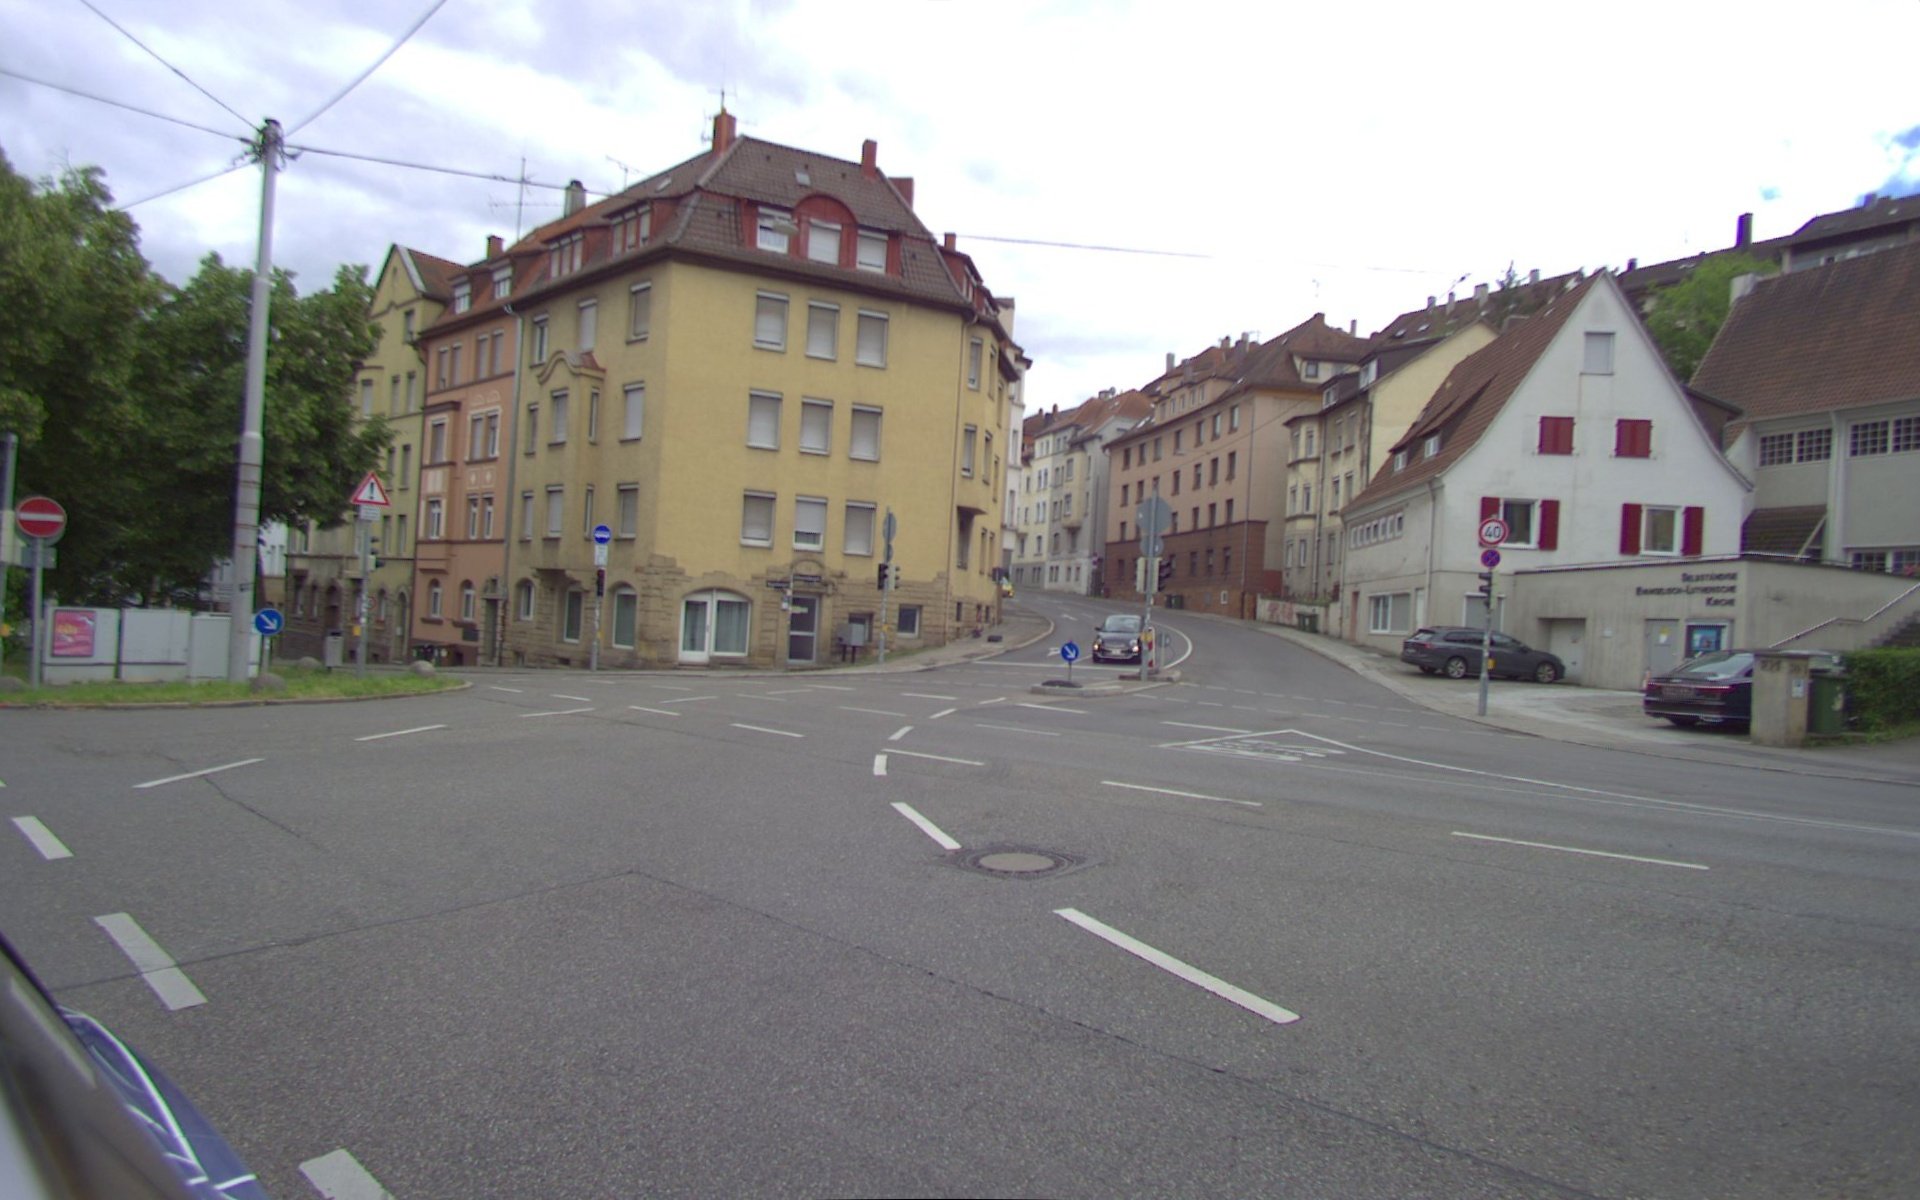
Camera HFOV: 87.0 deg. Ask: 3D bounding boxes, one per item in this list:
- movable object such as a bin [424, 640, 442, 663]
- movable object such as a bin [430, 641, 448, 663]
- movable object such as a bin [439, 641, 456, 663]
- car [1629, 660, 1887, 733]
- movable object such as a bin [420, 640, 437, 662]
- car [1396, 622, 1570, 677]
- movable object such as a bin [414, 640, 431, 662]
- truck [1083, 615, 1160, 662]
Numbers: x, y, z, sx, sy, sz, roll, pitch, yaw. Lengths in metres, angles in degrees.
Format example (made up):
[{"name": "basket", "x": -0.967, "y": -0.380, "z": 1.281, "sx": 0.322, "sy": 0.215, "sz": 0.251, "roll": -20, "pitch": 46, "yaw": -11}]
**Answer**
[{"name": "movable object such as a bin", "x": -21.229, "y": 2.076, "z": 40.773, "sx": 0.480, "sy": 0.871, "sz": 0.449, "roll": 5, "pitch": -5, "yaw": -44}, {"name": "movable object such as a bin", "x": -20.746, "y": 2.061, "z": 40.317, "sx": 0.480, "sy": 0.871, "sz": 0.449, "roll": 5, "pitch": -5, "yaw": -44}, {"name": "movable object such as a bin", "x": -20.210, "y": 2.051, "z": 39.913, "sx": 0.480, "sy": 0.871, "sz": 0.449, "roll": 5, "pitch": -5, "yaw": -44}, {"name": "car", "x": 15.205, "y": 1.795, "z": 19.342, "sx": 3.932, "sy": 1.198, "sz": 1.841, "roll": 1, "pitch": -1, "yaw": -14}, {"name": "movable object such as a bin", "x": -21.652, "y": 2.093, "z": 41.245, "sx": 0.480, "sy": 0.871, "sz": 0.449, "roll": 5, "pitch": -5, "yaw": -44}, {"name": "car", "x": 15.471, "y": 1.454, "z": 30.063, "sx": 4.239, "sy": 1.476, "sz": 1.683, "roll": 0, "pitch": 2, "yaw": 0}, {"name": "movable object such as a bin", "x": -22.140, "y": 2.107, "z": 41.700, "sx": 0.480, "sy": 0.871, "sz": 0.449, "roll": 5, "pitch": -5, "yaw": -44}, {"name": "truck", "x": 5.332, "y": 1.258, "z": 33.100, "sx": 1.838, "sy": 1.429, "sz": 3.974, "roll": 0, "pitch": -2, "yaw": 19}]
